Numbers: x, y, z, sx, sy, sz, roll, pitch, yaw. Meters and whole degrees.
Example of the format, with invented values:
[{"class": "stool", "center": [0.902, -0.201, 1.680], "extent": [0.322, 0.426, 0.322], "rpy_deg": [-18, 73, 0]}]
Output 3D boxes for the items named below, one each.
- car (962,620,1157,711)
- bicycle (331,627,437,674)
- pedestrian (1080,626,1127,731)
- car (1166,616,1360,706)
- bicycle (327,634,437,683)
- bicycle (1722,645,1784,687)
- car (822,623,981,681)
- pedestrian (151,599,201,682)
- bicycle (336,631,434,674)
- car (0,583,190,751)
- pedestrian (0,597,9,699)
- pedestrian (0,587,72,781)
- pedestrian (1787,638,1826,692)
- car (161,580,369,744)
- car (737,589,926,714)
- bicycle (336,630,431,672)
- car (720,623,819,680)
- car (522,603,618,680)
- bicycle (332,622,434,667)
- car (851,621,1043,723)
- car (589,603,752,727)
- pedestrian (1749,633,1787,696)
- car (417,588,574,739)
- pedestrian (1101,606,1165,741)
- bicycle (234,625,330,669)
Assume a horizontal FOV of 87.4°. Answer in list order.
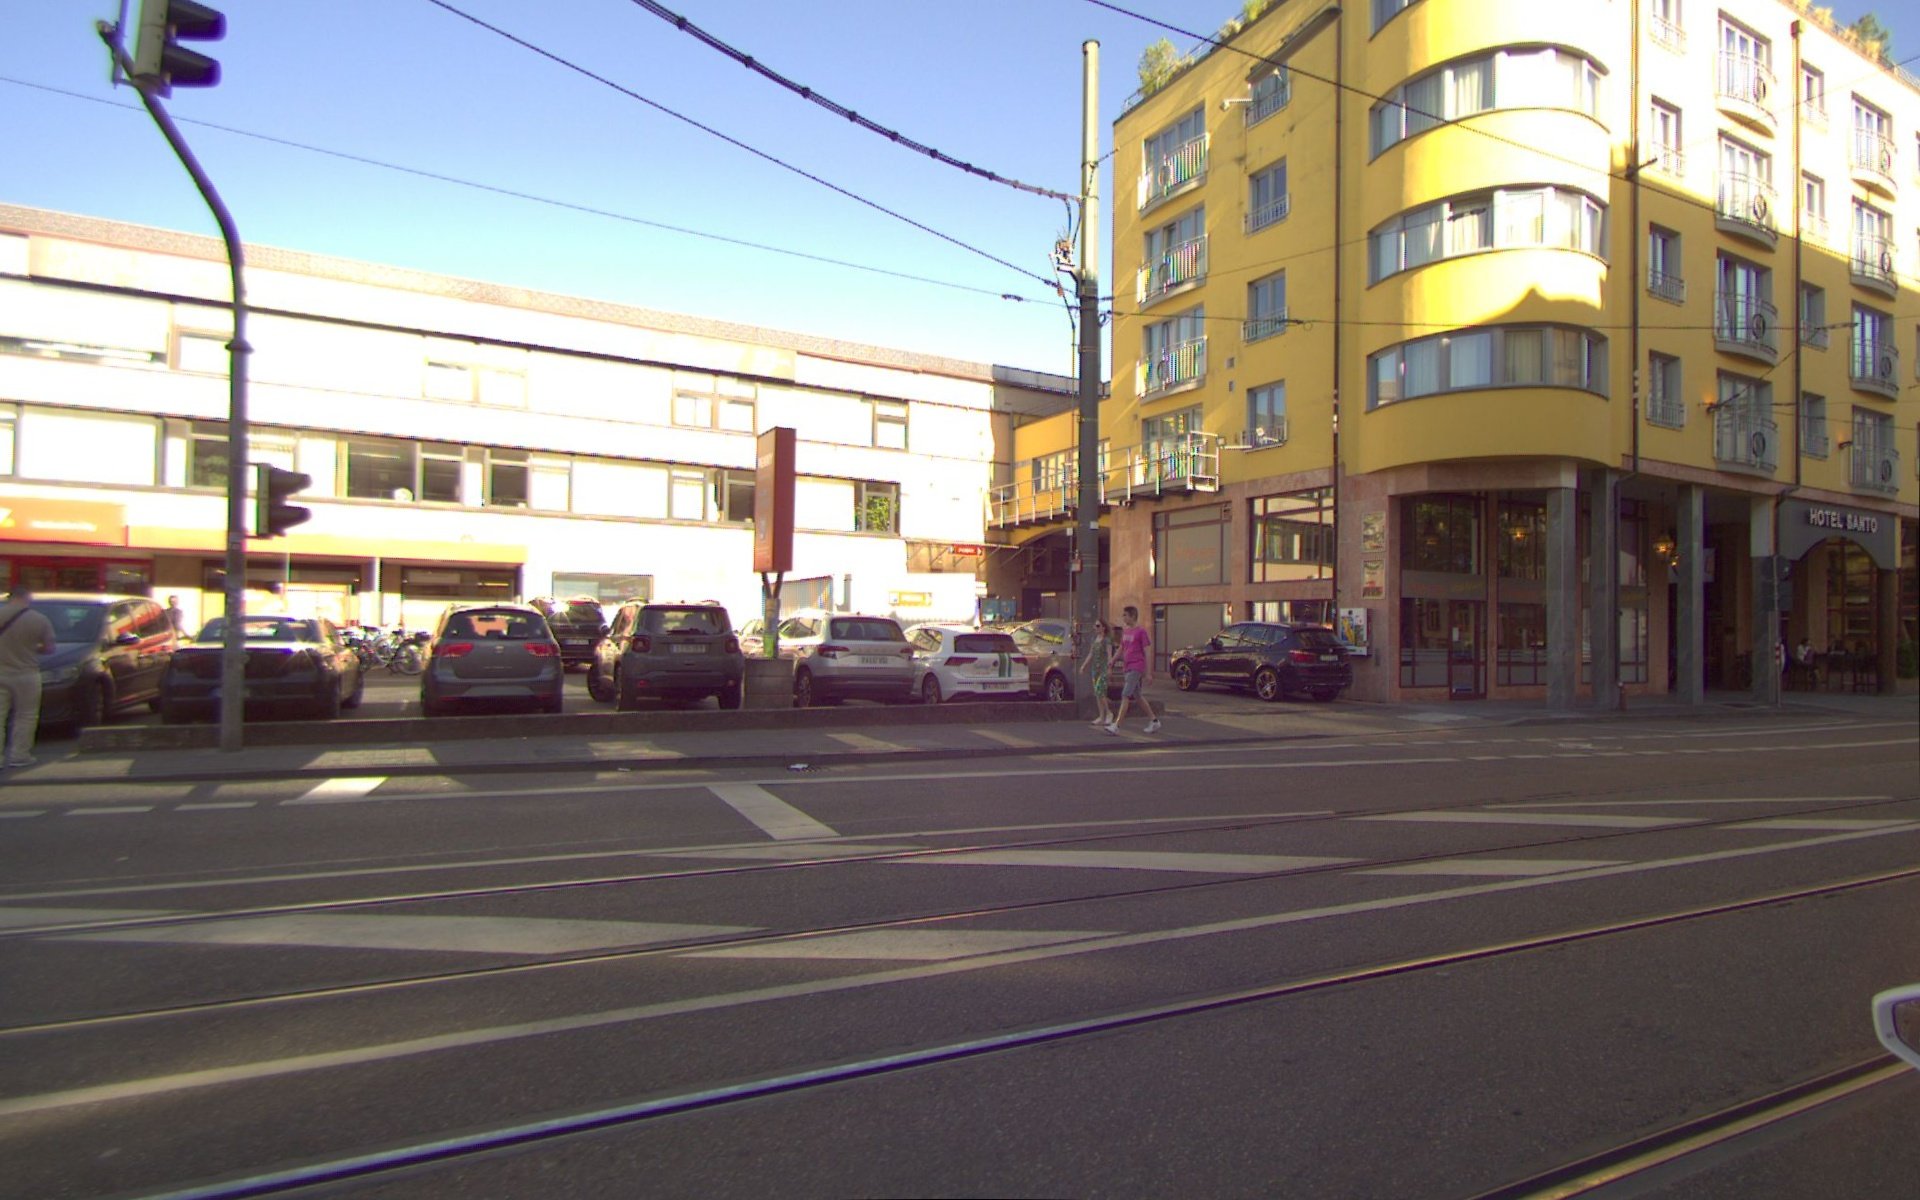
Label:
[{"class": "car", "center": [1.834, 1.272, 19.836], "extent": [1.763, 1.568, 4.217], "rpy_deg": [4, -4, -28]}, {"class": "bicycle", "center": [-13.056, 1.137, 22.803], "extent": [2.040, 1.028, 0.510], "rpy_deg": [2, -2, -32]}, {"class": "pedestrian", "center": [2.296, 1.245, 16.144], "extent": [0.493, 1.638, 0.569], "rpy_deg": [2, -2, -30]}, {"class": "car", "center": [6.719, 1.312, 22.753], "extent": [1.763, 1.836, 4.216], "rpy_deg": [2, -2, -28]}, {"class": "bicycle", "center": [-12.650, 1.283, 22.038], "extent": [2.040, 1.027, 0.507], "rpy_deg": [2, -2, -32]}, {"class": "bicycle", "center": [23.837, 1.981, 30.192], "extent": [2.052, 1.218, 0.580], "rpy_deg": [2, -2, -25]}, {"class": "car", "center": [-1.559, 1.400, 27.346], "extent": [3.954, 1.473, 1.771], "rpy_deg": [2, -2, -31]}, {"class": "pedestrian", "center": [-16.053, 0.832, 20.583], "extent": [0.683, 1.655, 0.635], "rpy_deg": [1, -2, -29]}, {"class": "bicycle", "center": [-14.152, 1.302, 24.759], "extent": [2.040, 1.027, 0.493], "rpy_deg": [2, -2, -32]}, {"class": "car", "center": [-11.159, 0.725, 12.517], "extent": [1.763, 1.787, 4.216], "rpy_deg": [2, -1, -28]}, {"class": "pedestrian", "center": [-16.514, 0.808, 16.857], "extent": [0.646, 1.718, 0.478], "rpy_deg": [2, -2, -31]}, {"class": "pedestrian", "center": [-9.050, 0.782, 9.554], "extent": [0.772, 1.787, 0.708], "rpy_deg": [2, -2, -35]}, {"class": "pedestrian", "center": [25.186, 1.931, 29.888], "extent": [0.593, 1.568, 0.703], "rpy_deg": [1, -2, -24]}, {"class": "car", "center": [-9.109, 0.762, 13.513], "extent": [1.763, 1.836, 4.216], "rpy_deg": [2, -2, -28]}, {"class": "car", "center": [-2.333, 0.891, 17.210], "extent": [1.763, 1.835, 4.217], "rpy_deg": [4, -4, -28]}, {"class": "bicycle", "center": [-14.562, 1.284, 25.410], "extent": [2.039, 1.027, 0.501], "rpy_deg": [2, -2, -32]}, {"class": "car", "center": [-5.476, 1.431, 28.639], "extent": [1.676, 1.499, 3.561], "rpy_deg": [2, -2, -30]}, {"class": "car", "center": [-9.801, 1.010, 25.121], "extent": [1.676, 1.771, 3.561], "rpy_deg": [2, -2, -30]}, {"class": "bicycle", "center": [-13.624, 1.063, 23.767], "extent": [2.040, 1.028, 0.501], "rpy_deg": [2, -2, -32]}, {"class": "car", "center": [-0.372, 1.216, 18.377], "extent": [1.763, 1.630, 4.216], "rpy_deg": [2, -2, -28]}, {"class": "car", "center": [-4.679, 0.958, 15.893], "extent": [1.763, 1.694, 3.675], "rpy_deg": [2, -2, -28]}, {"class": "pedestrian", "center": [23.669, 1.897, 29.417], "extent": [0.713, 1.793, 0.559], "rpy_deg": [2, 0, -24]}, {"class": "car", "center": [-6.812, 0.842, 14.559], "extent": [1.763, 1.836, 4.217], "rpy_deg": [2, -2, -28]}, {"class": "pedestrian", "center": [2.605, 1.091, 15.125], "extent": [0.701, 1.972, 0.634], "rpy_deg": [2, -2, -30]}, {"class": "bicycle", "center": [-15.900, 1.108, 23.587], "extent": [1.801, 1.027, 0.366], "rpy_deg": [2, -2, -26]}]
